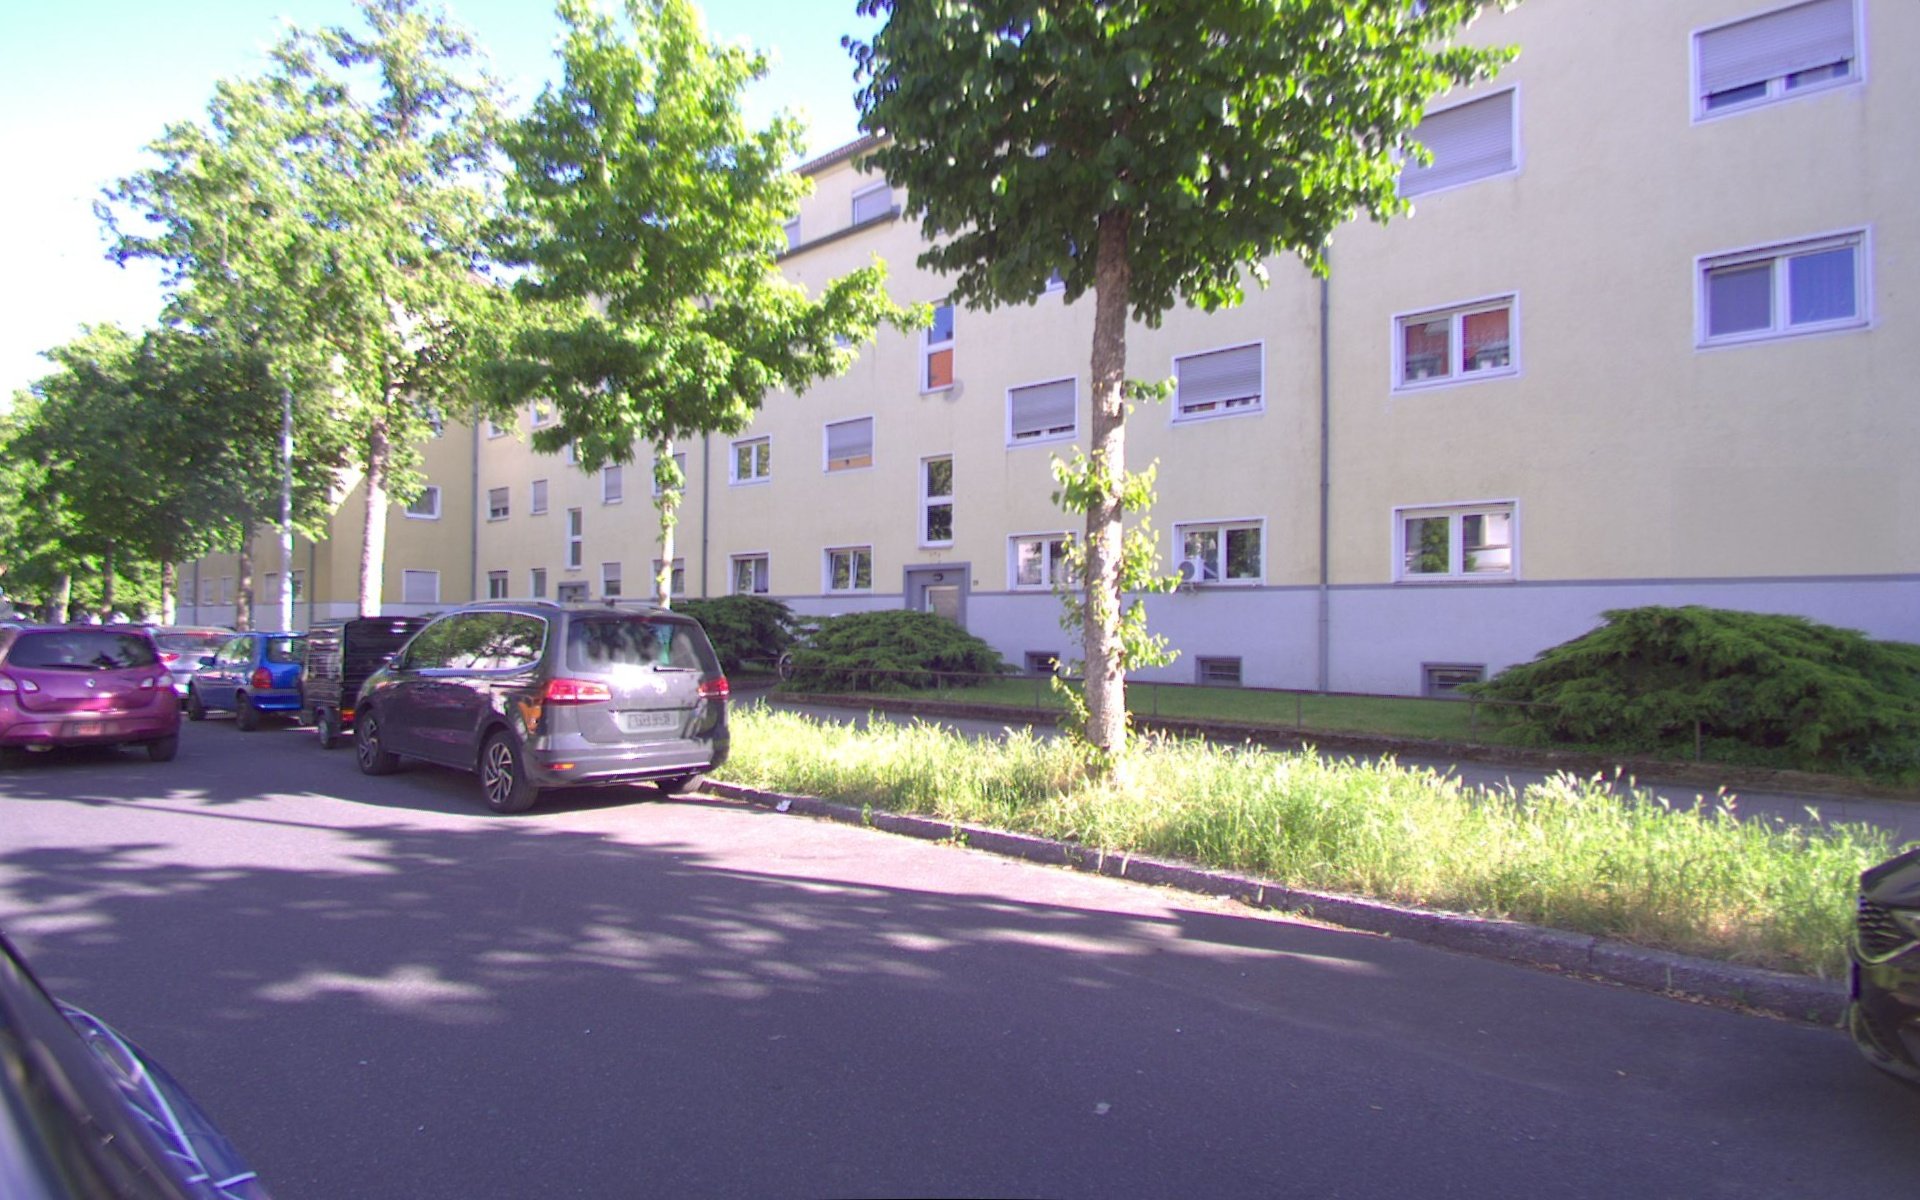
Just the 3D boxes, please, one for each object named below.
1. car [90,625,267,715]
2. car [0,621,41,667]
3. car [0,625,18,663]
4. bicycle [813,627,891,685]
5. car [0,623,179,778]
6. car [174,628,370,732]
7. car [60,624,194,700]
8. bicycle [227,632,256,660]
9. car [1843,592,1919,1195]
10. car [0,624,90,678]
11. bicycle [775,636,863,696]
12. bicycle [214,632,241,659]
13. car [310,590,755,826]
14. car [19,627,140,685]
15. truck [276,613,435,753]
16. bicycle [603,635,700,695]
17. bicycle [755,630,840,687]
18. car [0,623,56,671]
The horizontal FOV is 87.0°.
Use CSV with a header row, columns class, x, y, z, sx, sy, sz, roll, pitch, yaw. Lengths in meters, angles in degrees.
class,x,y,z,sx,sy,sz,roll,pitch,yaw
car,-14.394,1.216,18.530,4.688,1.455,1.772,-1,-4,43
car,-34.309,1.544,36.012,4.731,1.577,1.674,-1,-3,40
car,-39.102,1.734,40.277,3.988,1.453,1.743,-1,-2,38
bicycle,-2.364,1.201,22.261,0.487,1.154,1.819,0,1,44
car,-9.762,0.979,10.859,3.174,1.437,1.490,-1,-3,39
car,-10.606,1.138,15.511,3.724,1.406,1.505,-1,-2,40
car,-18.481,1.325,22.384,4.268,1.527,1.603,-1,-5,42
bicycle,-27.591,1.767,38.853,1.748,1.034,0.530,-1,-3,43
car,4.713,0.778,1.731,4.775,1.560,1.492,-1,-4,41
car,-27.102,1.465,29.856,3.931,1.470,1.647,-2,-3,41
bicycle,-2.651,1.223,19.207,0.486,1.089,1.822,-1,-2,38
bicycle,-29.046,1.802,40.124,1.748,1.034,0.534,-1,-3,43
car,-4.261,0.881,9.625,4.974,1.693,1.830,-1,-5,41
car,-22.933,1.417,26.308,4.672,1.379,1.727,-1,-3,41
truck,-7.658,0.984,12.771,2.432,1.589,1.072,-2,-3,43
bicycle,-5.944,1.241,19.483,1.829,1.089,0.484,0,1,17
bicycle,-3.392,1.208,21.249,0.487,1.089,1.819,0,1,44
car,-30.860,1.512,32.996,3.255,1.497,1.647,-2,-3,41
